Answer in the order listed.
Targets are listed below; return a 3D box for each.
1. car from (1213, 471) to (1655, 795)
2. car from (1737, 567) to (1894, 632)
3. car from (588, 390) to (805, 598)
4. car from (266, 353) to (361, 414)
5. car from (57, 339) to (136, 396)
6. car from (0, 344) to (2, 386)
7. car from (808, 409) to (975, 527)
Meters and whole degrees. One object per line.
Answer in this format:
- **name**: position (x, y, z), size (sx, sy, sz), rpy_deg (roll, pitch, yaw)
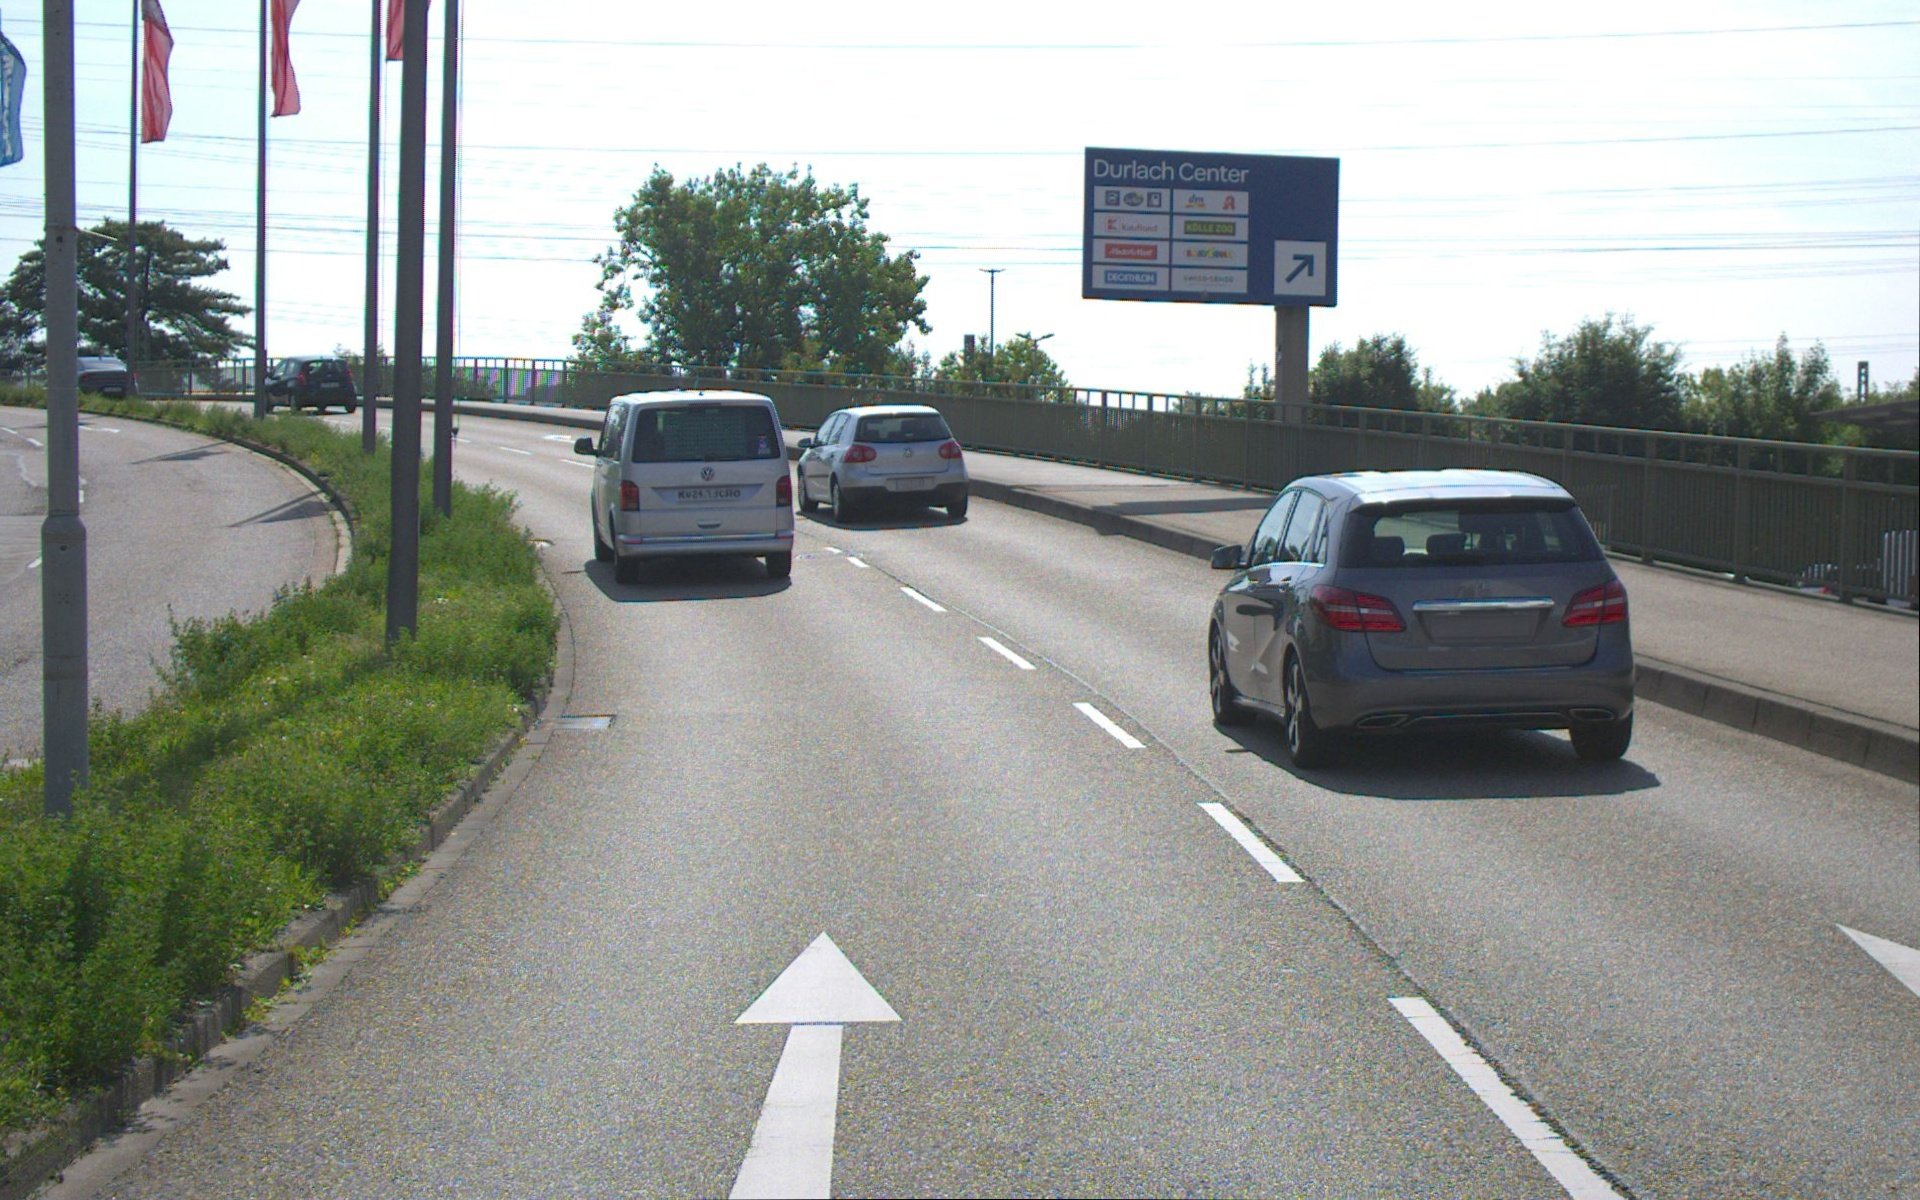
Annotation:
- **car**: position (2.540, 0.091, 19.343), size (1.773, 1.533, 4.139), rpy_deg (-1, 3, -2)
- **car**: position (20.621, -0.020, 83.025), size (1.993, 1.415, 4.001), rpy_deg (3, 0, -13)
- **car**: position (-2.900, -1.211, 37.069), size (1.916, 1.968, 4.299), rpy_deg (-2, 5, -9)
- **car**: position (-17.151, -5.748, 91.071), size (1.530, 1.474, 3.597), rpy_deg (0, 5, -27)
- **car**: position (-24.830, -6.665, 98.816), size (1.530, 1.475, 3.248), rpy_deg (2, 1, -26)
- **car**: position (-35.852, -8.475, 123.853), size (1.531, 1.475, 3.425), rpy_deg (2, 1, -34)
- **car**: position (-0.953, -1.789, 45.793), size (1.666, 1.409, 3.684), rpy_deg (-2, 4, -9)
